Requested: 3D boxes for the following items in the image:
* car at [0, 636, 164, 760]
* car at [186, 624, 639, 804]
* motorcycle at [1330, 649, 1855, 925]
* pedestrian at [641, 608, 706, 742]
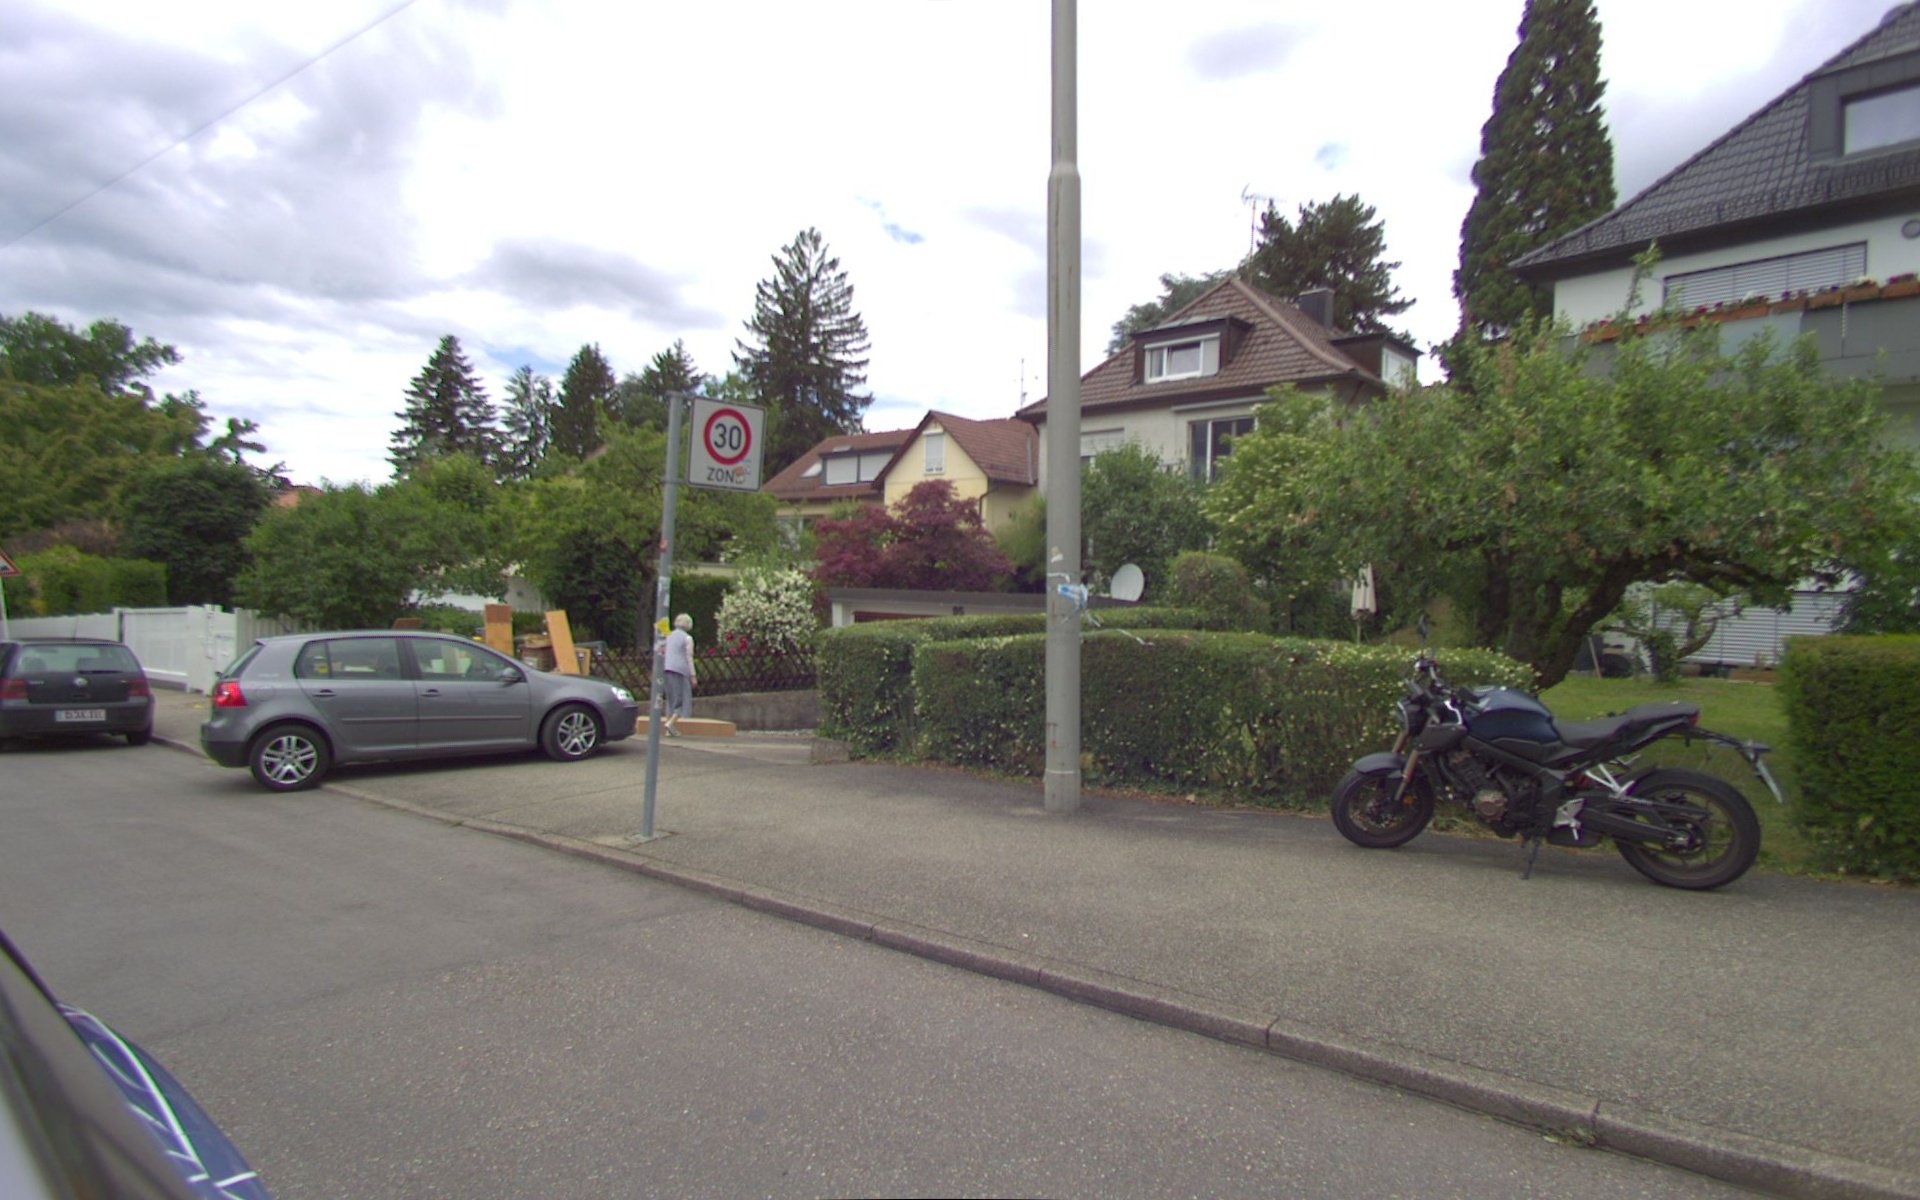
[{"bbox_3d":[-12.339,1.215,13.608,3.798,1.455,1.736,-1,-3,39],"label":"car"},{"bbox_3d":[-5.640,1.053,10.756,3.932,1.473,1.743,-1,-1,-32],"label":"car"},{"bbox_3d":[3.128,0.842,5.249,2.140,1.148,0.766,-2,-2,34],"label":"motorcycle"},{"bbox_3d":[-3.977,1.023,14.065,0.639,1.818,0.611,-1,-1,12],"label":"pedestrian"}]
